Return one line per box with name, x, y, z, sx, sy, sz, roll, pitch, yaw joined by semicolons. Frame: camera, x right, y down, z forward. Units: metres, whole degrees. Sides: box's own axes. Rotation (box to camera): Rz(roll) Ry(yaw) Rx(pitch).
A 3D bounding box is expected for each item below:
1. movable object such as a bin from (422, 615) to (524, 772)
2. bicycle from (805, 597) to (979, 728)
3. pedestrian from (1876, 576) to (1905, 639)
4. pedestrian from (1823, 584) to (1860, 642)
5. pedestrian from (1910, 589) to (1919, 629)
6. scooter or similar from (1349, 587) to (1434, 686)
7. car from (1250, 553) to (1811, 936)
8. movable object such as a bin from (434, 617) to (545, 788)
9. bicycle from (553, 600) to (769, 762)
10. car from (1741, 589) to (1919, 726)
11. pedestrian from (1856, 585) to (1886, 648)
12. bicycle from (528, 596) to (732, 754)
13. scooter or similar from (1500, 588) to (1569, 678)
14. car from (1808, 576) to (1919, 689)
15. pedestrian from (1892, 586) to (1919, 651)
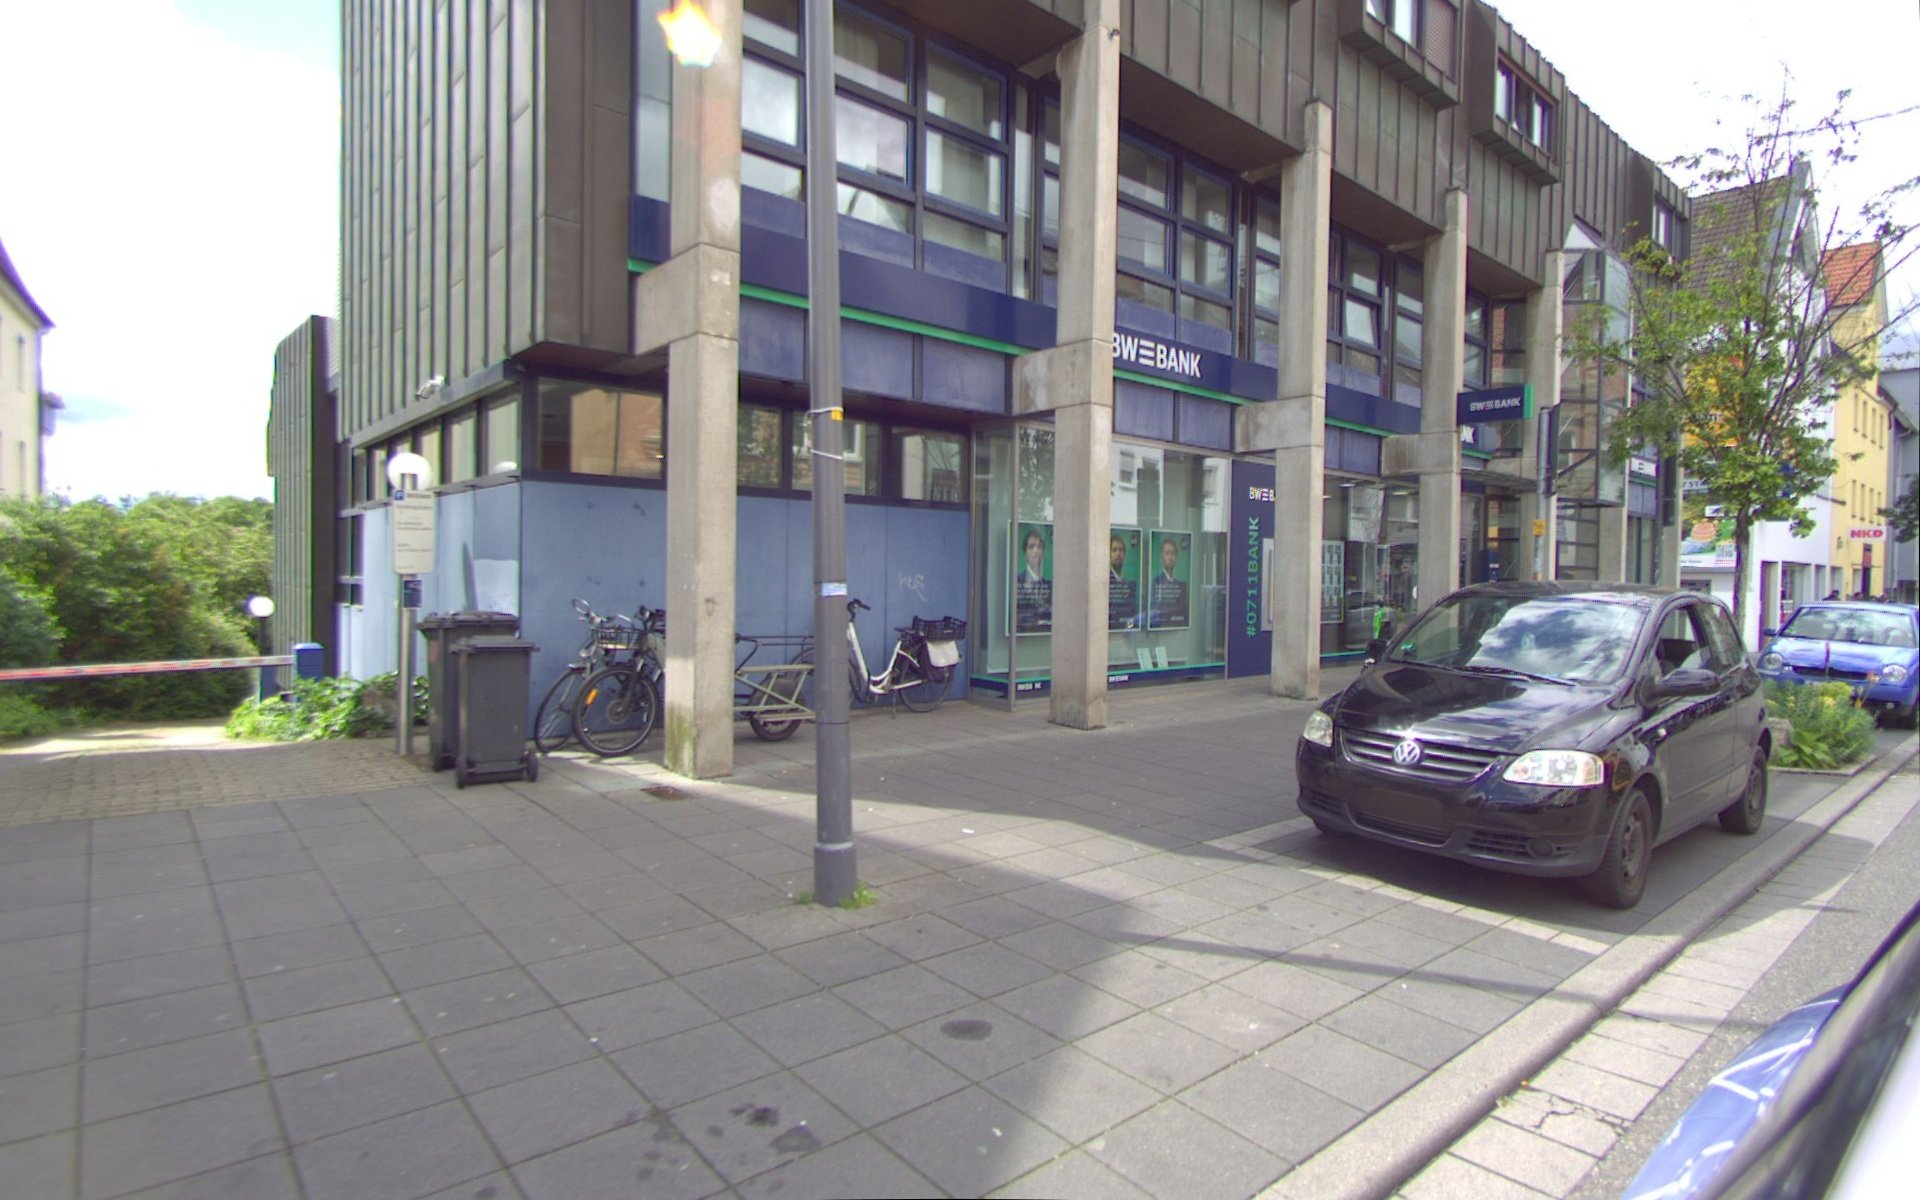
movable object such as a bin;-3.390;0.624;7.045;0.544;1.012;0.488;-1;0;-38
bicycle;-0.614;0.549;9.613;1.709;1.133;0.426;-1;0;-39
pedestrian;27.945;0.225;30.390;0.566;1.864;0.589;-1;0;-40
pedestrian;27.240;0.377;31.278;0.744;1.759;0.742;-1;0;-40
pedestrian;38.347;0.376;40.244;0.713;1.572;0.751;-1;2;-41
scooter or similar;5.793;0.455;13.556;1.534;1.261;0.422;-1;0;-41
car;3.510;0.565;5.955;3.727;1.551;1.613;0;3;-40
movable object such as a bin;-3.024;0.629;6.502;0.544;1.012;0.488;-1;0;-38
bicycle;-2.199;0.561;7.544;1.474;1.094;0.426;1;2;-39
car;11.893;0.630;13.323;4.036;1.512;1.725;-1;1;-40
pedestrian;27.191;0.489;30.213;0.566;1.864;0.589;-1;0;-40
bicycle;-2.574;0.543;7.987;1.475;1.133;0.426;-1;0;-39
scooter or similar;8.528;0.465;15.004;1.534;1.261;0.422;-1;0;-41
car;15.848;0.522;16.897;4.349;1.595;1.726;1;5;-40
pedestrian;27.663;0.537;29.562;0.566;1.864;0.589;-1;0;-40
